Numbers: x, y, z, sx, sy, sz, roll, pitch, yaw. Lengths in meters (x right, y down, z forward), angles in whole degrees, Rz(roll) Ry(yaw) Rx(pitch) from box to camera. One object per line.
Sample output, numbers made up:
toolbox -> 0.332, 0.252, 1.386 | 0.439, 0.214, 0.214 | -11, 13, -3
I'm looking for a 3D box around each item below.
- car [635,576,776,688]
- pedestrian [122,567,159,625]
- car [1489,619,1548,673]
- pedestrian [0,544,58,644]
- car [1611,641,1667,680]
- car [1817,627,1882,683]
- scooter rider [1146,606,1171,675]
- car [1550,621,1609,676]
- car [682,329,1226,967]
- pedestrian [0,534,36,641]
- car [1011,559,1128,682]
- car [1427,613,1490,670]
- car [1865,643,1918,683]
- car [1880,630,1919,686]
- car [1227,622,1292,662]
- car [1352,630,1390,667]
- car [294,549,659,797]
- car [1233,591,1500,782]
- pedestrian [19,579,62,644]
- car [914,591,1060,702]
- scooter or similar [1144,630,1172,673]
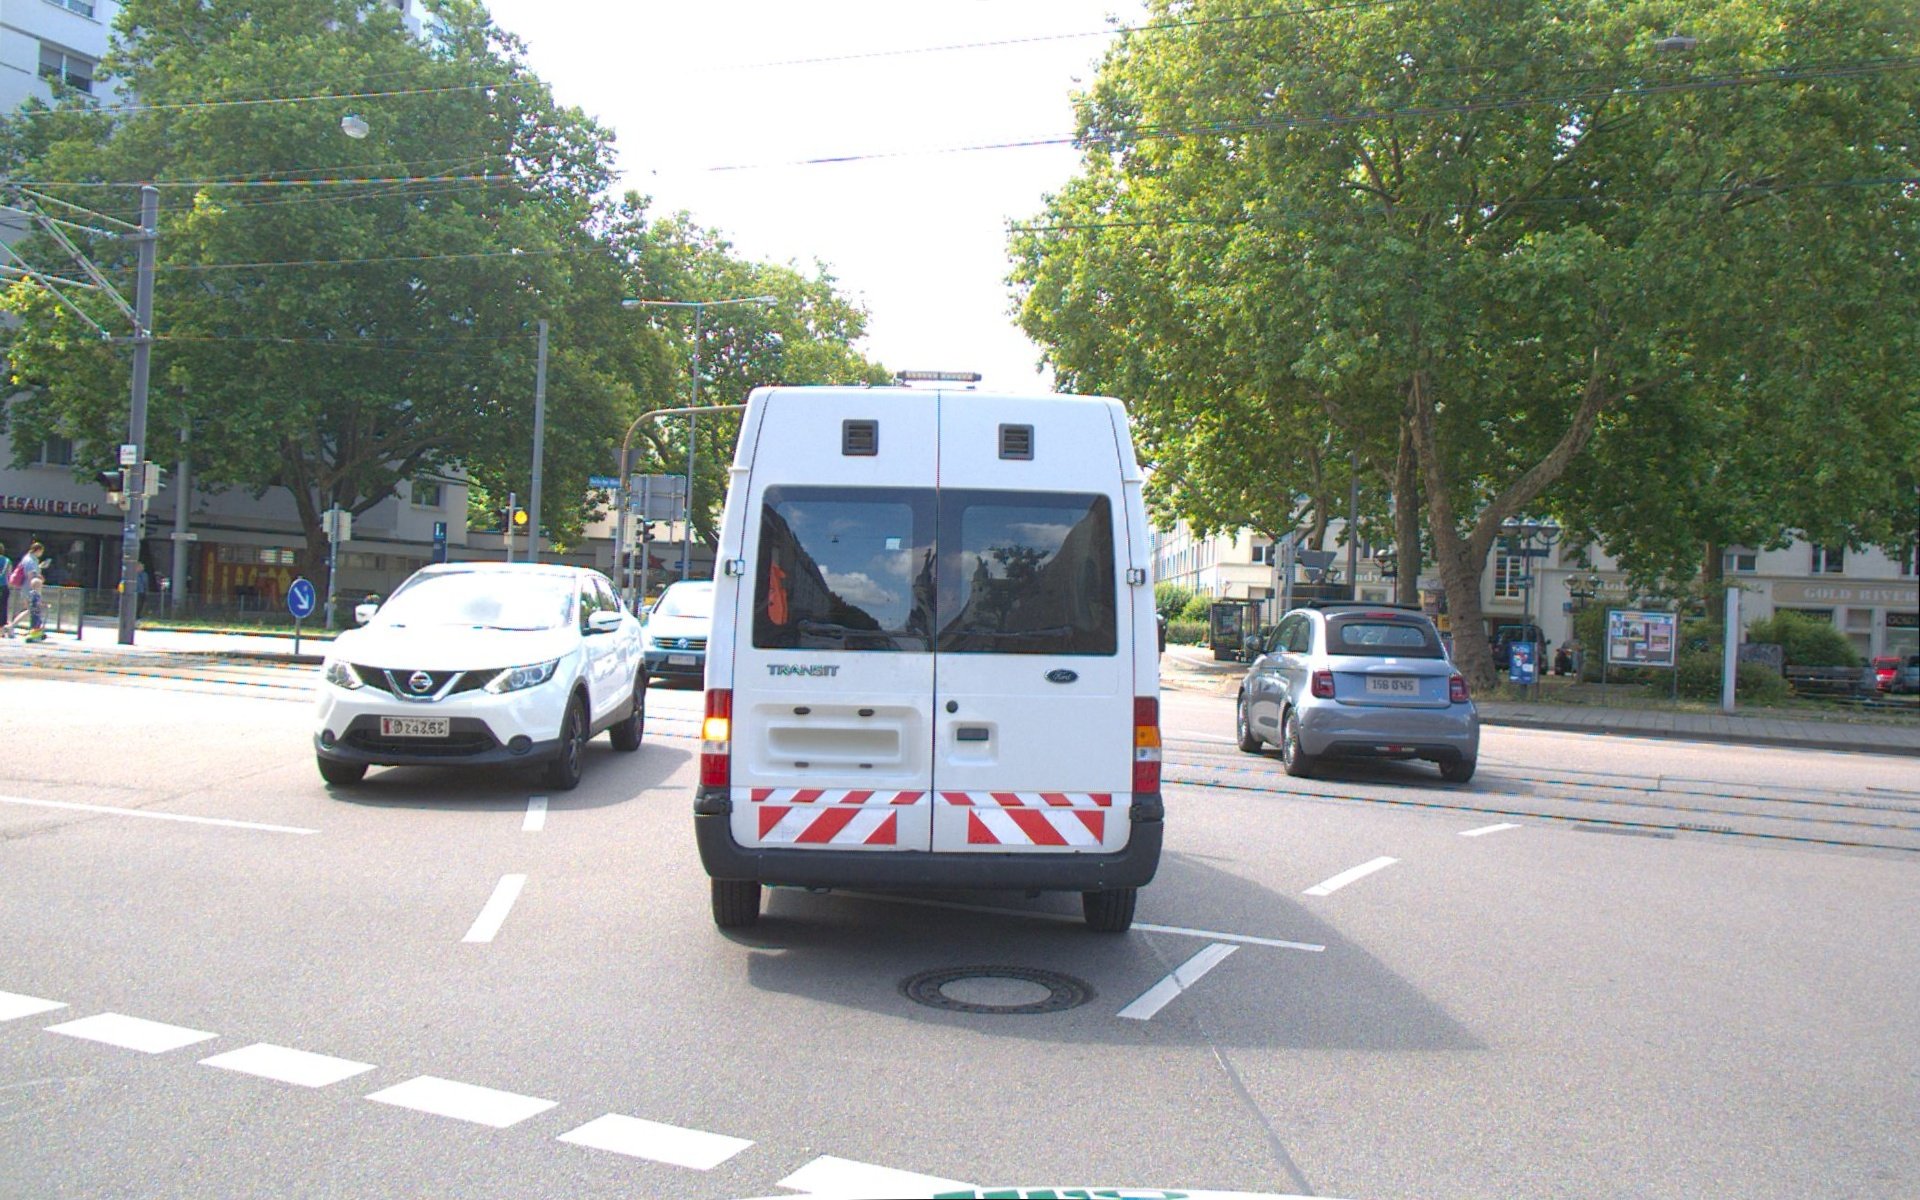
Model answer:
car -> -3.829, 0.451, 25.413 | 1.712, 1.567, 3.929 | 1, 0, -3
pedestrian -> -23.532, -0.106, 47.494 | 0.766, 1.626, 0.535 | 2, -1, 21
car -> 23.434, 1.921, 69.341 | 1.954, 2.112, 3.998 | 2, -1, 24
pedestrian -> -16.142, -0.098, 28.597 | 0.660, 1.695, 0.625 | 2, 0, 24
car -> 27.745, 2.469, 67.534 | 1.954, 1.447, 3.998 | 2, -1, 24
car -> 35.000, 2.144, 65.144 | 1.954, 2.049, 3.997 | 2, -1, 25
scooter rider -> 5.417, 1.110, 45.181 | 0.515, 1.843, 0.649 | 2, 0, -1
car -> 25.507, 1.992, 68.029 | 1.954, 2.112, 3.998 | 2, -1, 24
car -> -0.185, 0.181, 8.698 | 2.007, 2.373, 4.710 | 2, 0, -4
pedestrian -> -17.628, -0.228, 30.295 | 0.827, 1.932, 0.829 | 2, -1, 23
car -> 2.561, 0.450, 40.366 | 2.077, 2.687, 6.325 | 2, 0, -3
car -> 21.065, 1.758, 69.816 | 1.954, 2.221, 4.255 | 2, -1, 24
car -> 41.165, 2.768, 73.126 | 1.704, 1.666, 3.997 | 2, -1, 25
car -> 37.017, 2.248, 63.928 | 1.953, 2.049, 3.999 | 2, -1, 22
car -> 13.411, 1.867, 73.832 | 1.986, 1.628, 4.538 | 2, -1, 22
car -> 16.861, 1.970, 67.847 | 1.434, 1.413, 3.069 | 2, -1, 15
car -> -3.532, 0.454, 12.853 | 1.735, 1.610, 4.019 | 1, 1, -2
car -> 3.760, 0.732, 15.867 | 1.657, 1.564, 3.468 | 2, 0, 0
pedestrian -> -15.660, 0.206, 28.171 | 0.426, 1.082, 0.420 | 2, -1, 24
car -> 0.337, 0.666, 25.860 | 1.779, 1.532, 4.126 | 2, 0, -6
scooter or similar -> 5.402, 1.408, 45.145 | 0.538, 1.110, 1.291 | 2, 0, -1
